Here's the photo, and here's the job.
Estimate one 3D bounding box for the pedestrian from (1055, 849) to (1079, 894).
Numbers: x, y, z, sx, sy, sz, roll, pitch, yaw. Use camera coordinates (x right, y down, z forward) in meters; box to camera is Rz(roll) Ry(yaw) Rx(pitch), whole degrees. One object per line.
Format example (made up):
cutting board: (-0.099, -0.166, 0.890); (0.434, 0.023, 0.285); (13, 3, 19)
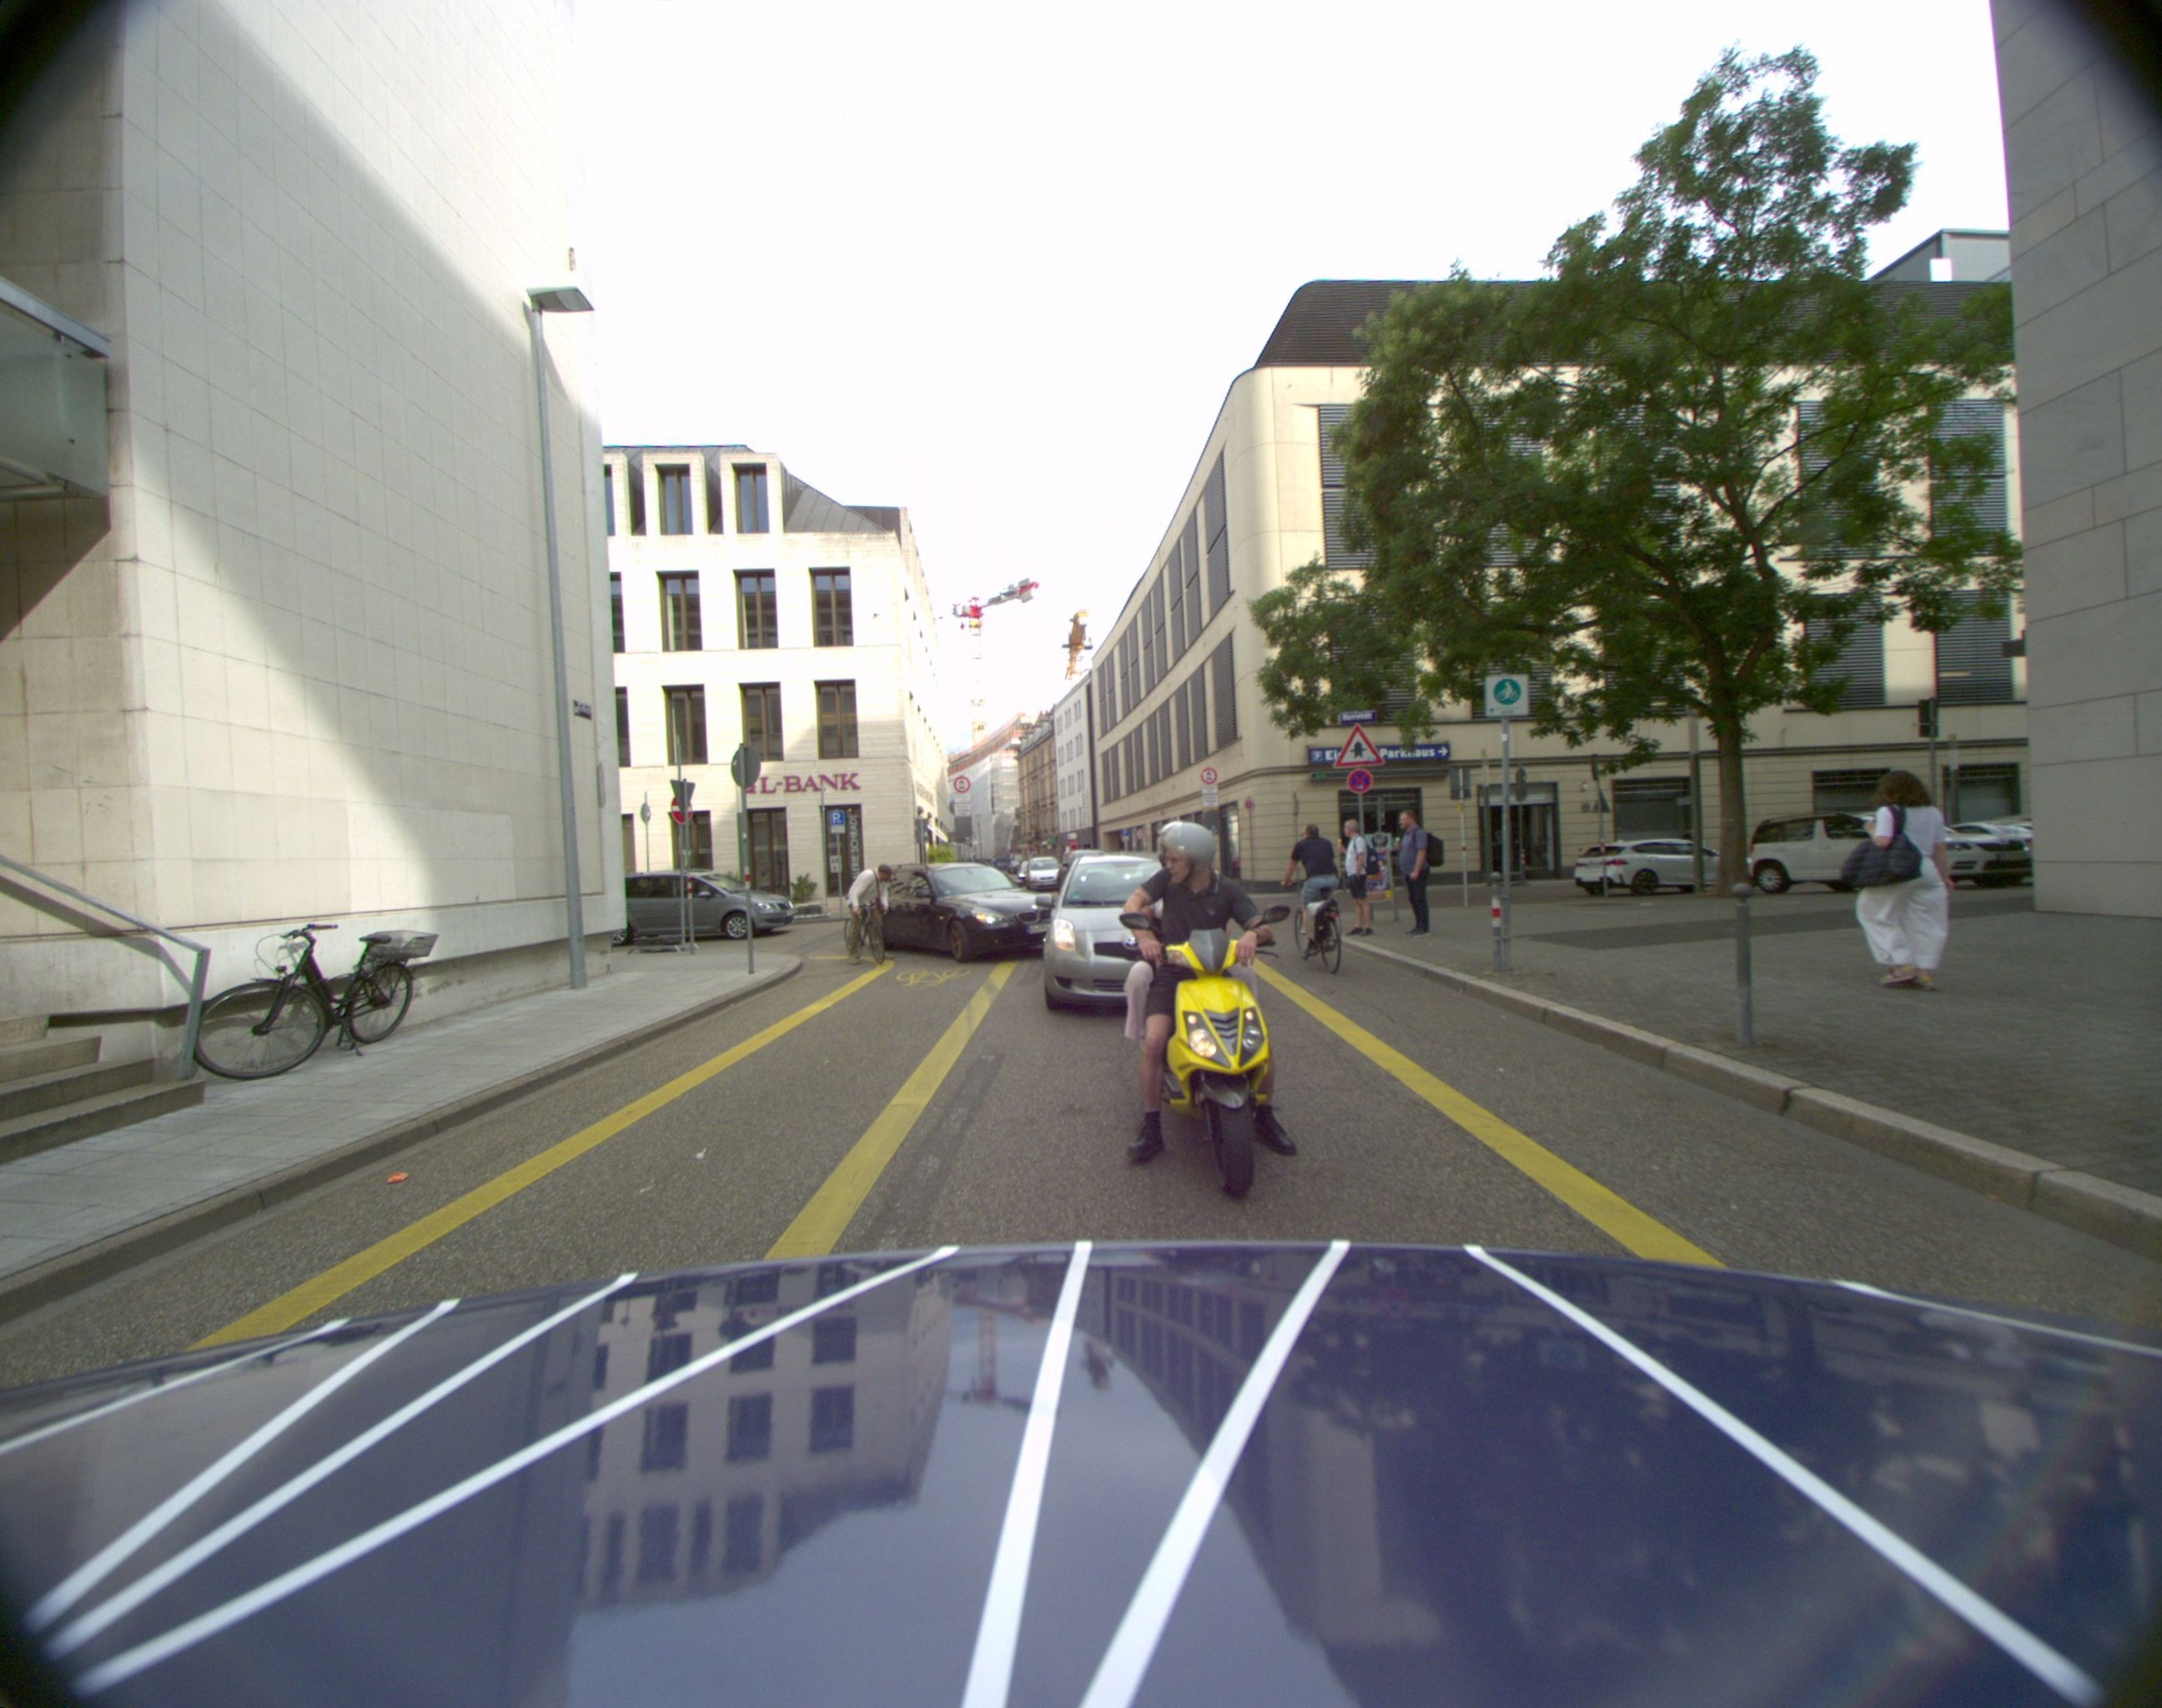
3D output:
pedestrian: (-0.602, 0.712, 31.944); (0.861, 1.820, 0.773); (-2, 1, -7)

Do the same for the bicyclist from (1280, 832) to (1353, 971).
bicyclist: (2.914, 0.560, 9.482); (0.644, 1.644, 0.940); (0, 1, 2)

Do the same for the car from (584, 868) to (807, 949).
car: (-8.855, 1.218, 17.720); (4.193, 1.581, 1.814); (-2, 1, -2)

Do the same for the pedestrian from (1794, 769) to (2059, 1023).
pedestrian: (6.344, 0.294, 5.770); (0.879, 1.699, 0.910); (-6, 1, 0)

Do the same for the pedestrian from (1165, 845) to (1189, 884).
pedestrian: (4.628, 0.477, 36.497); (0.891, 1.755, 1.061); (-6, 1, 13)

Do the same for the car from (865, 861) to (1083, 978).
car: (-1.849, 0.925, 12.196); (1.720, 1.482, 3.755); (-3, 1, -38)

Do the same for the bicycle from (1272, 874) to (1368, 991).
bicycle: (2.920, 0.909, 9.494); (0.648, 1.233, 1.953); (0, 1, 3)

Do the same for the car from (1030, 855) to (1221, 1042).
car: (0.439, 0.807, 8.357); (1.562, 1.482, 3.784); (-3, 1, 2)

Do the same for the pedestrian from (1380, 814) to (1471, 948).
pedestrian: (4.960, 0.377, 10.972); (0.745, 1.804, 0.756); (-6, 1, -11)

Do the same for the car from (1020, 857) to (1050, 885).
car: (-2.770, 0.999, 45.551); (1.589, 1.477, 3.997); (-2, 1, -6)

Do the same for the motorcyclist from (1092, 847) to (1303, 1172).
motorcyclist: (0.530, 0.697, 3.919); (0.924, 1.445, 1.065); (-1, 0, 1)

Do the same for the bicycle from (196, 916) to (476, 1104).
bicycle: (-6.058, 1.194, 6.357); (0.590, 1.160, 1.814); (-2, 1, -4)

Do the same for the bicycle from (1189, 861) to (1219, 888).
bicycle: (5.365, 0.875, 33.282); (0.692, 1.038, 2.543); (-2, 1, -4)

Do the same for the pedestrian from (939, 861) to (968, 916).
pedestrian: (-4.432, 1.187, 26.456); (0.774, 1.820, 0.860); (-3, 1, -20)

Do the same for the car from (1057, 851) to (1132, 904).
car: (0.329, 0.688, 24.368); (1.710, 1.482, 4.100); (-3, 1, -8)

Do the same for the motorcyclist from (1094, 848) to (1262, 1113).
motorcyclist: (0.538, 0.694, 4.530); (0.903, 1.445, 0.742); (-1, 0, 1)

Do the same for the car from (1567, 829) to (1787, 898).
car: (15.491, 0.229, 19.906); (4.364, 1.572, 1.814); (-2, 1, -2)

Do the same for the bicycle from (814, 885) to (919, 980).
bicycle: (-3.463, 1.152, 12.012); (0.872, 1.188, 2.857); (-3, 1, -30)

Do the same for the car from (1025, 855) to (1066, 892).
car: (-1.719, 0.865, 35.986); (1.563, 1.547, 4.100); (-3, 1, -7)

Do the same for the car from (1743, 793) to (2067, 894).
car: (15.919, -0.081, 15.055); (1.899, 1.682, 3.964); (-2, -3, -3)

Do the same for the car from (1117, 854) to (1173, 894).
car: (2.729, 0.804, 33.127); (1.563, 1.547, 4.100); (-3, 1, -7)

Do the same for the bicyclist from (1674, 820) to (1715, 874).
bicyclist: (19.205, -0.219, 23.799); (0.643, 1.609, 0.623); (-5, 0, 0)

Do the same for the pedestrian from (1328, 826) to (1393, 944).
pedestrian: (4.342, 0.463, 11.826); (0.644, 1.755, 0.653); (-2, 1, -11)

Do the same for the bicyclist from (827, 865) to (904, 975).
bicyclist: (-3.359, 0.980, 11.805); (0.894, 1.585, 0.875); (-3, 1, -30)

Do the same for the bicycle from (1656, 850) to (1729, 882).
bicycle: (19.145, 0.377, 23.811); (1.723, 0.829, 0.602); (-5, -2, 0)

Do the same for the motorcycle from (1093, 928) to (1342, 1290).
motorcycle: (0.535, 1.071, 3.938); (0.929, 1.158, 2.127); (-1, 0, 1)
